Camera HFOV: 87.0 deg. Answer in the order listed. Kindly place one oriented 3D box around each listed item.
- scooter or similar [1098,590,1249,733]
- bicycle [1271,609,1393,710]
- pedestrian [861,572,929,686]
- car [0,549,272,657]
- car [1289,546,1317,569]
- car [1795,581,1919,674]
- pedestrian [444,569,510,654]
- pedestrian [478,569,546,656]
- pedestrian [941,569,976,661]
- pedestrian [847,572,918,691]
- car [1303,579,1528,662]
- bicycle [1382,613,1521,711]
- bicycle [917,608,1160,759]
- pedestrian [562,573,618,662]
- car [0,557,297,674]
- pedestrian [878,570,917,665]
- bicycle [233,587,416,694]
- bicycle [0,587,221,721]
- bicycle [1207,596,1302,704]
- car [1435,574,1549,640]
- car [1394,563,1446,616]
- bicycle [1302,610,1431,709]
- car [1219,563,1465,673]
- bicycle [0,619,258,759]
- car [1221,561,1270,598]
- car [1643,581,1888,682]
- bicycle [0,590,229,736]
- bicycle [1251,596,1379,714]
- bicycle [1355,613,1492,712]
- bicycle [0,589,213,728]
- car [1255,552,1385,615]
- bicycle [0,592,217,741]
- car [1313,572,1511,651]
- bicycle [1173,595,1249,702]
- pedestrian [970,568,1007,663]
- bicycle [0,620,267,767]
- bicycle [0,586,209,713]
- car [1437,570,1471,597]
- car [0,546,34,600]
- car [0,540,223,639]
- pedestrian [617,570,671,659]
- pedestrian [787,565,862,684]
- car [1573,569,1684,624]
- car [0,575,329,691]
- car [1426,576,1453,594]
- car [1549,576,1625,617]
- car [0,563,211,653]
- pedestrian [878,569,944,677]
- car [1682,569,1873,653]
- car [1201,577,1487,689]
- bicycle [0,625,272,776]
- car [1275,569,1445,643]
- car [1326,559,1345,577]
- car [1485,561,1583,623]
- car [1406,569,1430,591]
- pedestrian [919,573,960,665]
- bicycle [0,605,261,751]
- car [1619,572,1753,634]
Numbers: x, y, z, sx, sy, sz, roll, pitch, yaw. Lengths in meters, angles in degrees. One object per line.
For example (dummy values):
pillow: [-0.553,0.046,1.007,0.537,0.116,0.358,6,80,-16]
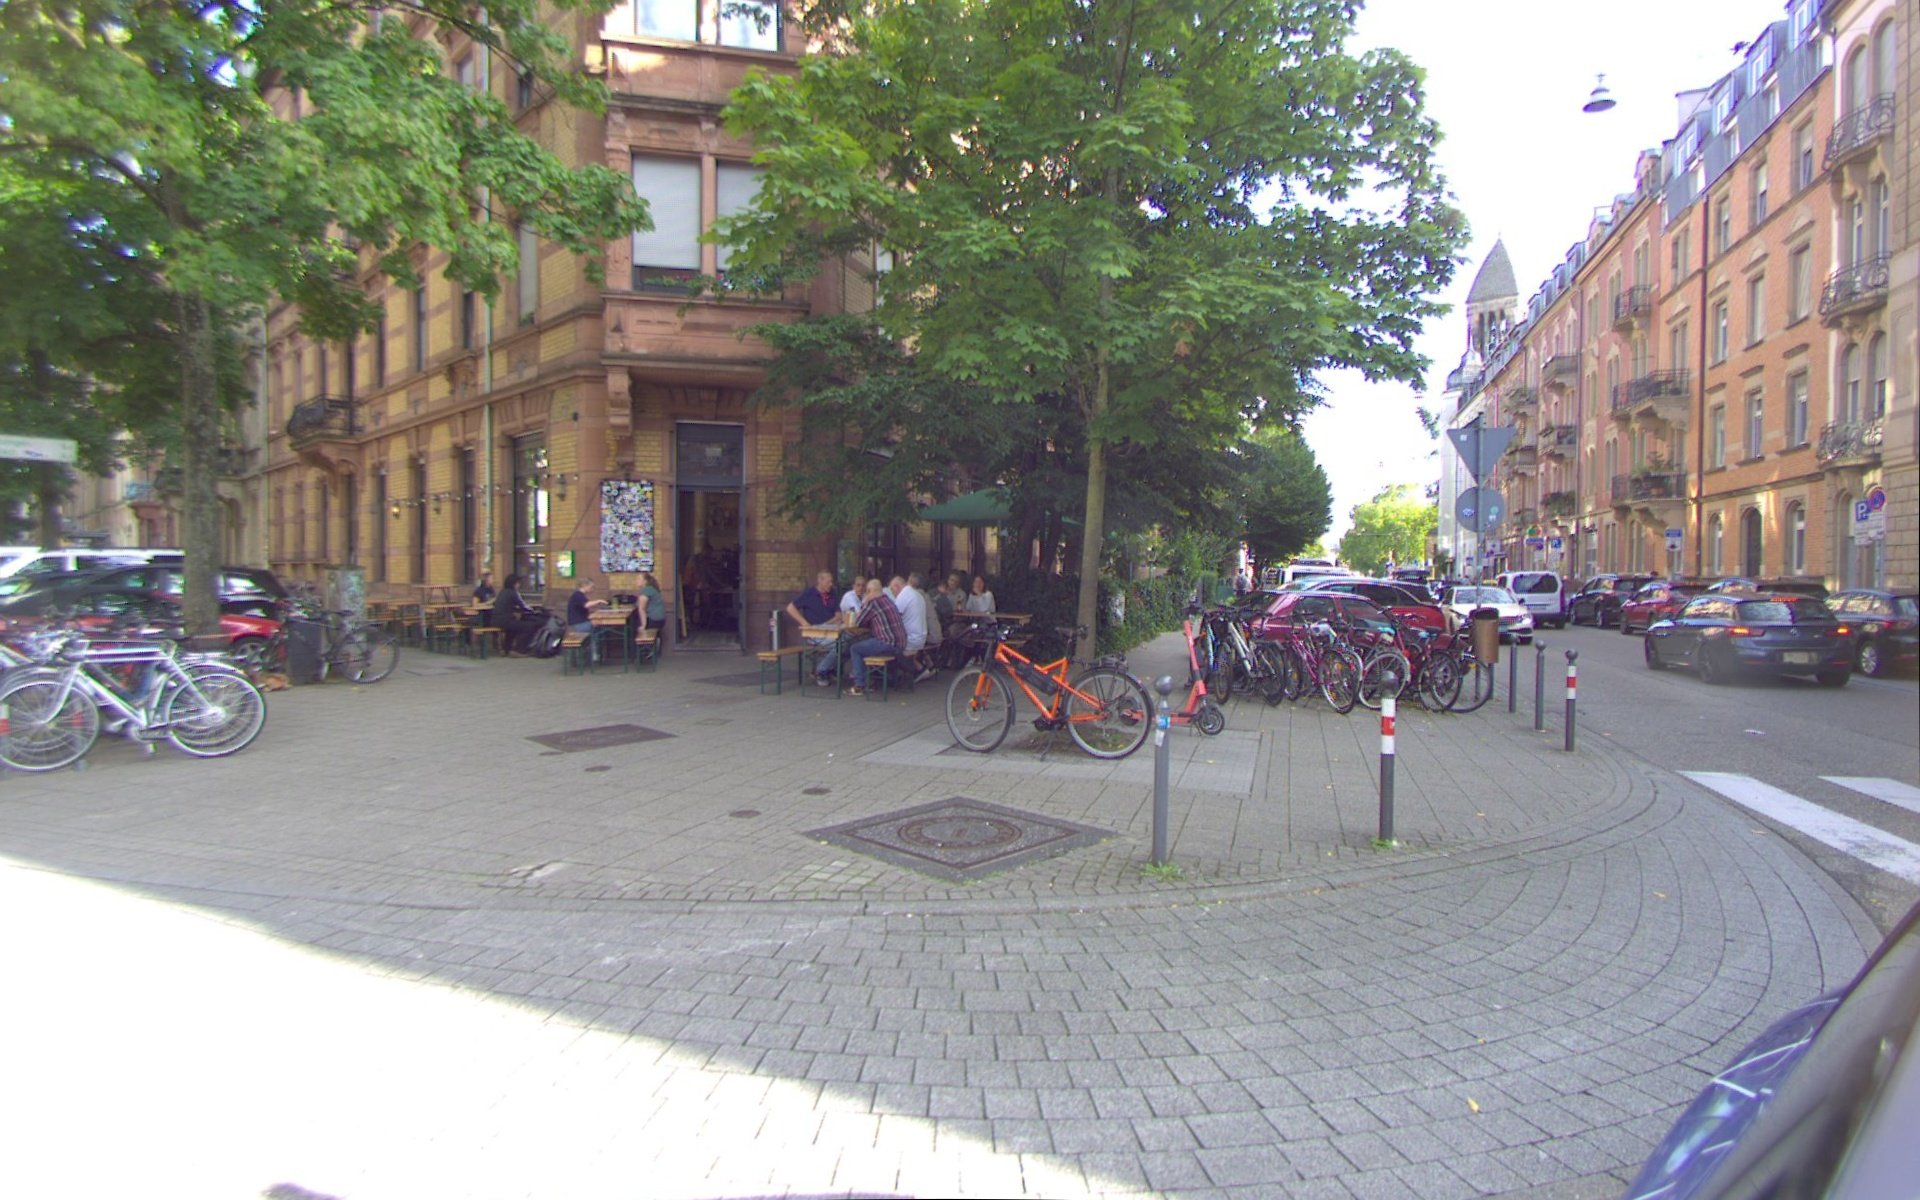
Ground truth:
scooter or similar: [1.999,0.544,9.571,0.547,1.226,1.289,2,0,-45]
bicycle: [4.337,0.659,11.944,0.409,0.997,1.843,2,2,-11]
pedestrian: [-0.779,0.337,12.232,0.717,1.331,0.520,1,0,8]
car: [-14.723,0.009,18.207,3.647,1.742,1.857,-2,1,-43]
car: [28.399,-3.513,83.808,1.824,1.756,3.983,-1,1,14]
car: [15.842,0.391,16.920,1.703,1.385,3.805,-1,1,20]
pedestrian: [-7.829,0.168,16.405,0.627,1.300,0.757,1,3,43]
pedestrian: [-7.009,0.176,15.833,0.627,1.300,0.757,1,3,43]
pedestrian: [-0.031,0.209,15.125,0.457,1.343,0.622,0,2,-4]
pedestrian: [-0.888,0.346,11.727,0.717,1.331,0.520,1,0,8]
car: [8.561,0.367,19.197,3.517,1.339,1.515,2,1,-3]
bicycle: [5.975,0.725,12.431,0.462,0.997,1.869,2,2,-11]
bicycle: [0.628,0.624,8.127,1.834,1.048,0.679,1,1,20]
pedestrian: [-5.399,0.243,14.778,0.630,1.239,0.512,-2,4,-38]
car: [-13.277,0.175,16.193,4.237,1.588,2.005,-4,3,-39]
pedestrian: [-0.893,0.240,14.426,0.538,1.317,0.622,0,2,-4]
bicycle: [-7.630,0.448,12.206,1.769,1.127,0.599,-3,4,-41]
bicycle: [-8.819,0.512,10.573,0.445,1.216,1.690,2,4,36]
bicycle: [3.482,0.555,12.088,0.466,1.114,1.677,2,2,-5]
car: [14.159,0.130,27.203,1.920,1.617,4.807,-1,1,19]
car: [19.069,-0.479,42.065,1.773,2.089,3.970,1,1,22]
bicycle: [4.860,0.679,12.237,0.462,0.997,1.869,2,2,-11]
car: [6.417,0.273,17.212,3.517,1.635,1.515,2,1,-3]
bicycle: [-6.936,0.705,8.487,1.679,0.998,0.448,-2,3,-32]
car: [14.845,-1.041,52.527,1.718,1.825,3.964,-1,1,26]
car: [12.968,0.431,16.662,1.748,1.399,4.424,-2,1,19]
bicycle: [-8.149,0.549,9.789,0.444,1.216,1.694,1,3,31]
bicycle: [4.014,0.580,11.594,0.465,1.157,1.843,2,2,-11]
bicycle: [5.560,0.712,12.280,0.462,0.997,1.869,2,2,-11]
bicycle: [-8.582,0.532,10.137,0.445,1.216,1.690,2,4,36]
car: [14.754,-0.693,41.555,4.640,2.453,2.004,-1,0,-12]
bicycle: [-7.801,0.570,9.152,1.679,1.216,0.448,-2,3,-32]
car: [9.684,0.228,21.847,3.517,1.482,1.515,2,1,-3]
bicycle: [2.967,0.535,12.082,0.426,1.114,1.676,2,2,0]
pedestrian: [0.401,0.209,14.612,0.457,1.343,0.622,0,2,-4]
bicycle: [-6.637,0.716,8.164,1.679,0.998,0.448,-2,3,-32]
bicycle: [-9.209,0.490,10.954,1.683,1.216,0.447,-3,4,-41]
car: [33.942,-1.158,69.622,1.665,1.807,3.994,1,2,20]
car: [-41.404,-1.066,41.206,5.394,2.229,1.994,-2,1,-45]
car: [-20.252,-0.309,23.372,2.039,2.013,4.841,2,5,41]
pedestrian: [-4.740,0.200,15.189,0.630,1.274,0.512,-2,4,-38]
pedestrian: [-1.658,0.273,12.381,0.657,1.396,0.717,-1,2,-35]
car: [21.059,-0.147,32.081,1.739,1.618,4.319,-1,1,17]
car: [-11.194,0.381,13.860,1.562,1.286,4.051,0,3,43]
car: [37.347,-1.176,78.875,1.606,1.396,3.736,0,1,20]
car: [22.852,-0.154,37.003,1.606,1.396,3.737,1,1,20]
car: [-16.778,0.122,19.412,3.649,1.475,1.666,-5,3,-43]
pedestrian: [-0.616,0.281,12.875,0.717,1.331,0.606,1,0,8]
car: [17.355,0.157,21.760,1.839,1.604,4.371,-1,1,20]
car: [5.526,0.449,14.791,3.516,1.397,1.515,2,1,-5]
bicycle: [-6.349,0.736,7.810,1.679,0.981,0.448,-2,3,-32]
car: [9.876,0.118,25.124,3.517,1.632,1.515,2,1,-3]
car: [42.979,-3.621,115.817,1.976,1.912,3.971,-1,1,22]
car: [18.963,-0.274,33.669,1.920,1.903,4.807,-1,1,19]
car: [42.209,-1.843,93.306,1.707,1.957,3.985,1,2,20]
pedestrian: [-0.297,0.255,14.215,0.538,1.247,0.622,0,2,-4]
bicycle: [-7.310,0.639,8.780,2.006,1.102,0.448,-2,3,-32]
car: [19.297,0.047,27.099,1.740,1.515,4.108,-1,1,19]
